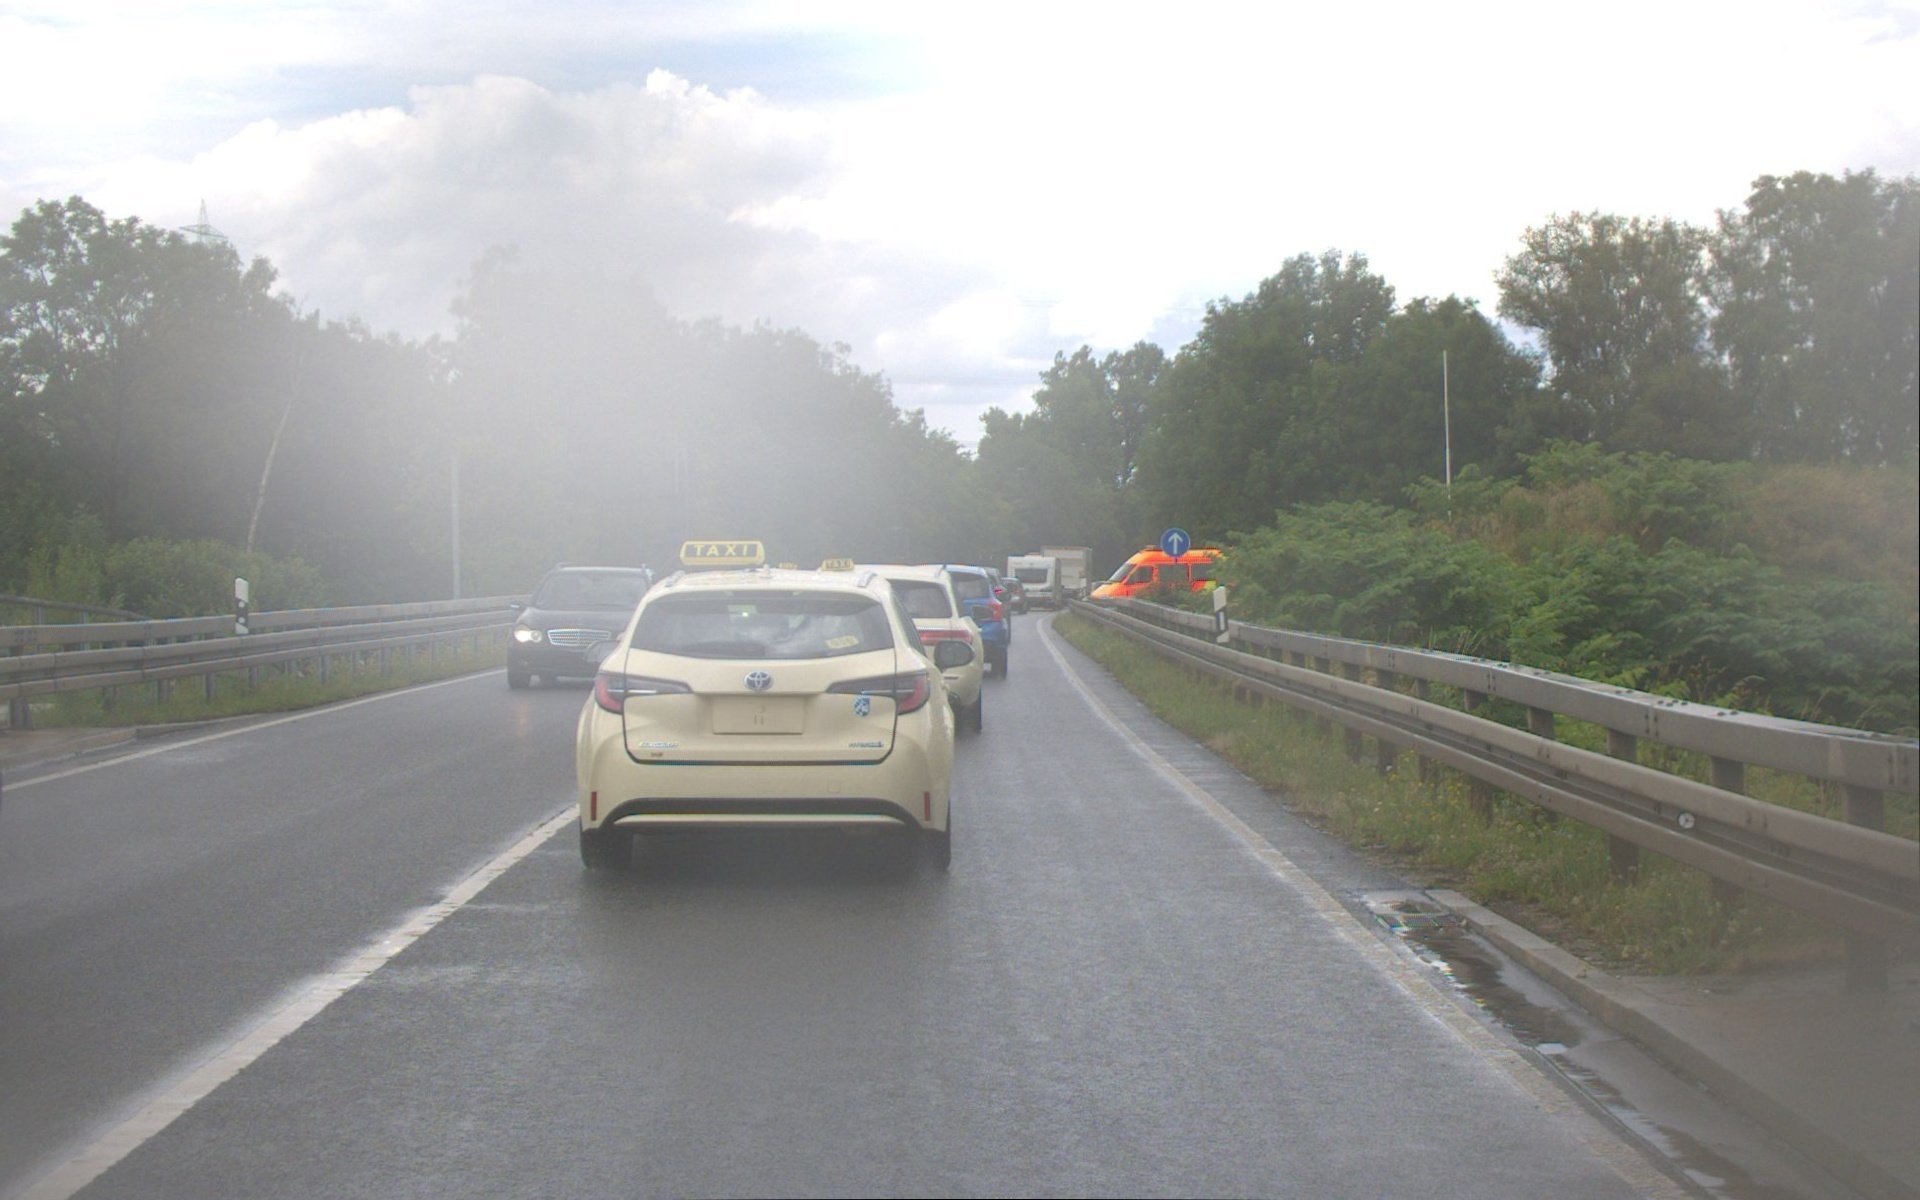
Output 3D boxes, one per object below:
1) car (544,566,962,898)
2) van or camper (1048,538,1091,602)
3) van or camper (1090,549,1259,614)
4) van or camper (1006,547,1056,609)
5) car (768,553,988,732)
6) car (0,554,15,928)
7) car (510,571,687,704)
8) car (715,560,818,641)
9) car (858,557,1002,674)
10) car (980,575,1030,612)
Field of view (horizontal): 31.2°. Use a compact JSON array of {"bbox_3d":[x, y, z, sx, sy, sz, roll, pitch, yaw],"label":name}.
[{"bbox_3d":[-0.944,0.573,17.478,1.854,1.389,4.171,1,2,0],"label":"car"},{"bbox_3d":[6.193,-1.726,195.343,2.333,3.550,6.306,1,1,1],"label":"van or camper"},{"bbox_3d":[7.700,-0.672,123.499,5.676,2.234,2.021,1,1,-14],"label":"van or camper"},{"bbox_3d":[3.388,-1.067,164.335,2.333,2.854,6.306,1,1,1],"label":"van or camper"},{"bbox_3d":[-0.714,0.332,31.309,1.854,1.438,4.171,1,2,0],"label":"car"},{"bbox_3d":[-4.697,0.556,12.095,1.713,1.511,3.860,1,0,-1],"label":"car"},{"bbox_3d":[-4.255,0.405,40.973,1.696,1.427,4.324,1,1,-1],"label":"car"},{"bbox_3d":[-3.856,-0.017,69.066,1.810,1.504,4.611,1,1,0],"label":"car"},{"bbox_3d":[-0.406,0.179,46.925,1.854,1.438,4.171,1,2,0],"label":"car"},{"bbox_3d":[1.866,-0.291,141.487,1.854,1.438,4.170,1,1,3],"label":"car"}]
